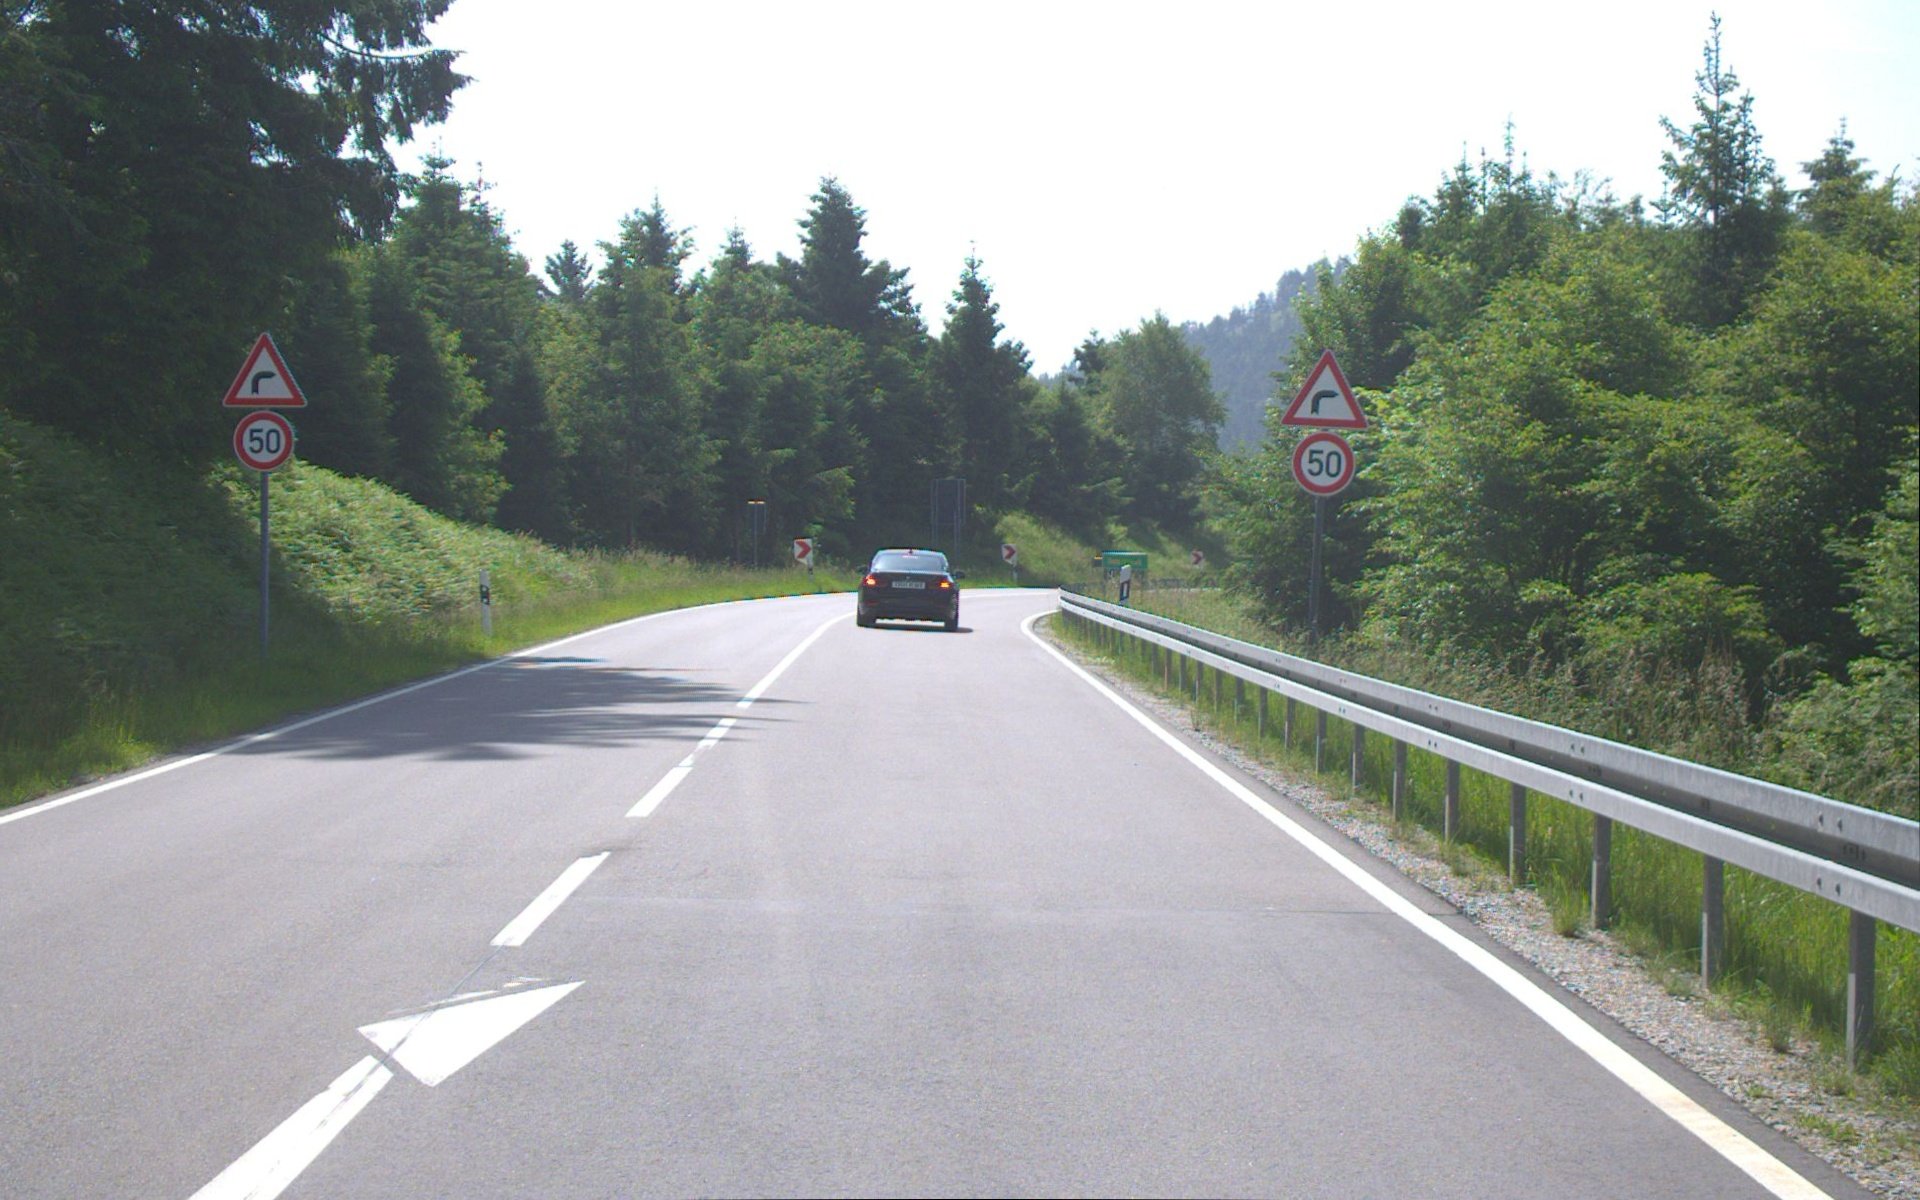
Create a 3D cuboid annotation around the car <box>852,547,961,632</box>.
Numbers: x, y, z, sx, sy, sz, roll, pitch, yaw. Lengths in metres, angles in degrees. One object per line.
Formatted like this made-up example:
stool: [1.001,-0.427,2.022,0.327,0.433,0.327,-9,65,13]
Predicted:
car: [-0.929,-0.207,62.063,1.776,1.437,3.709,2,1,2]
